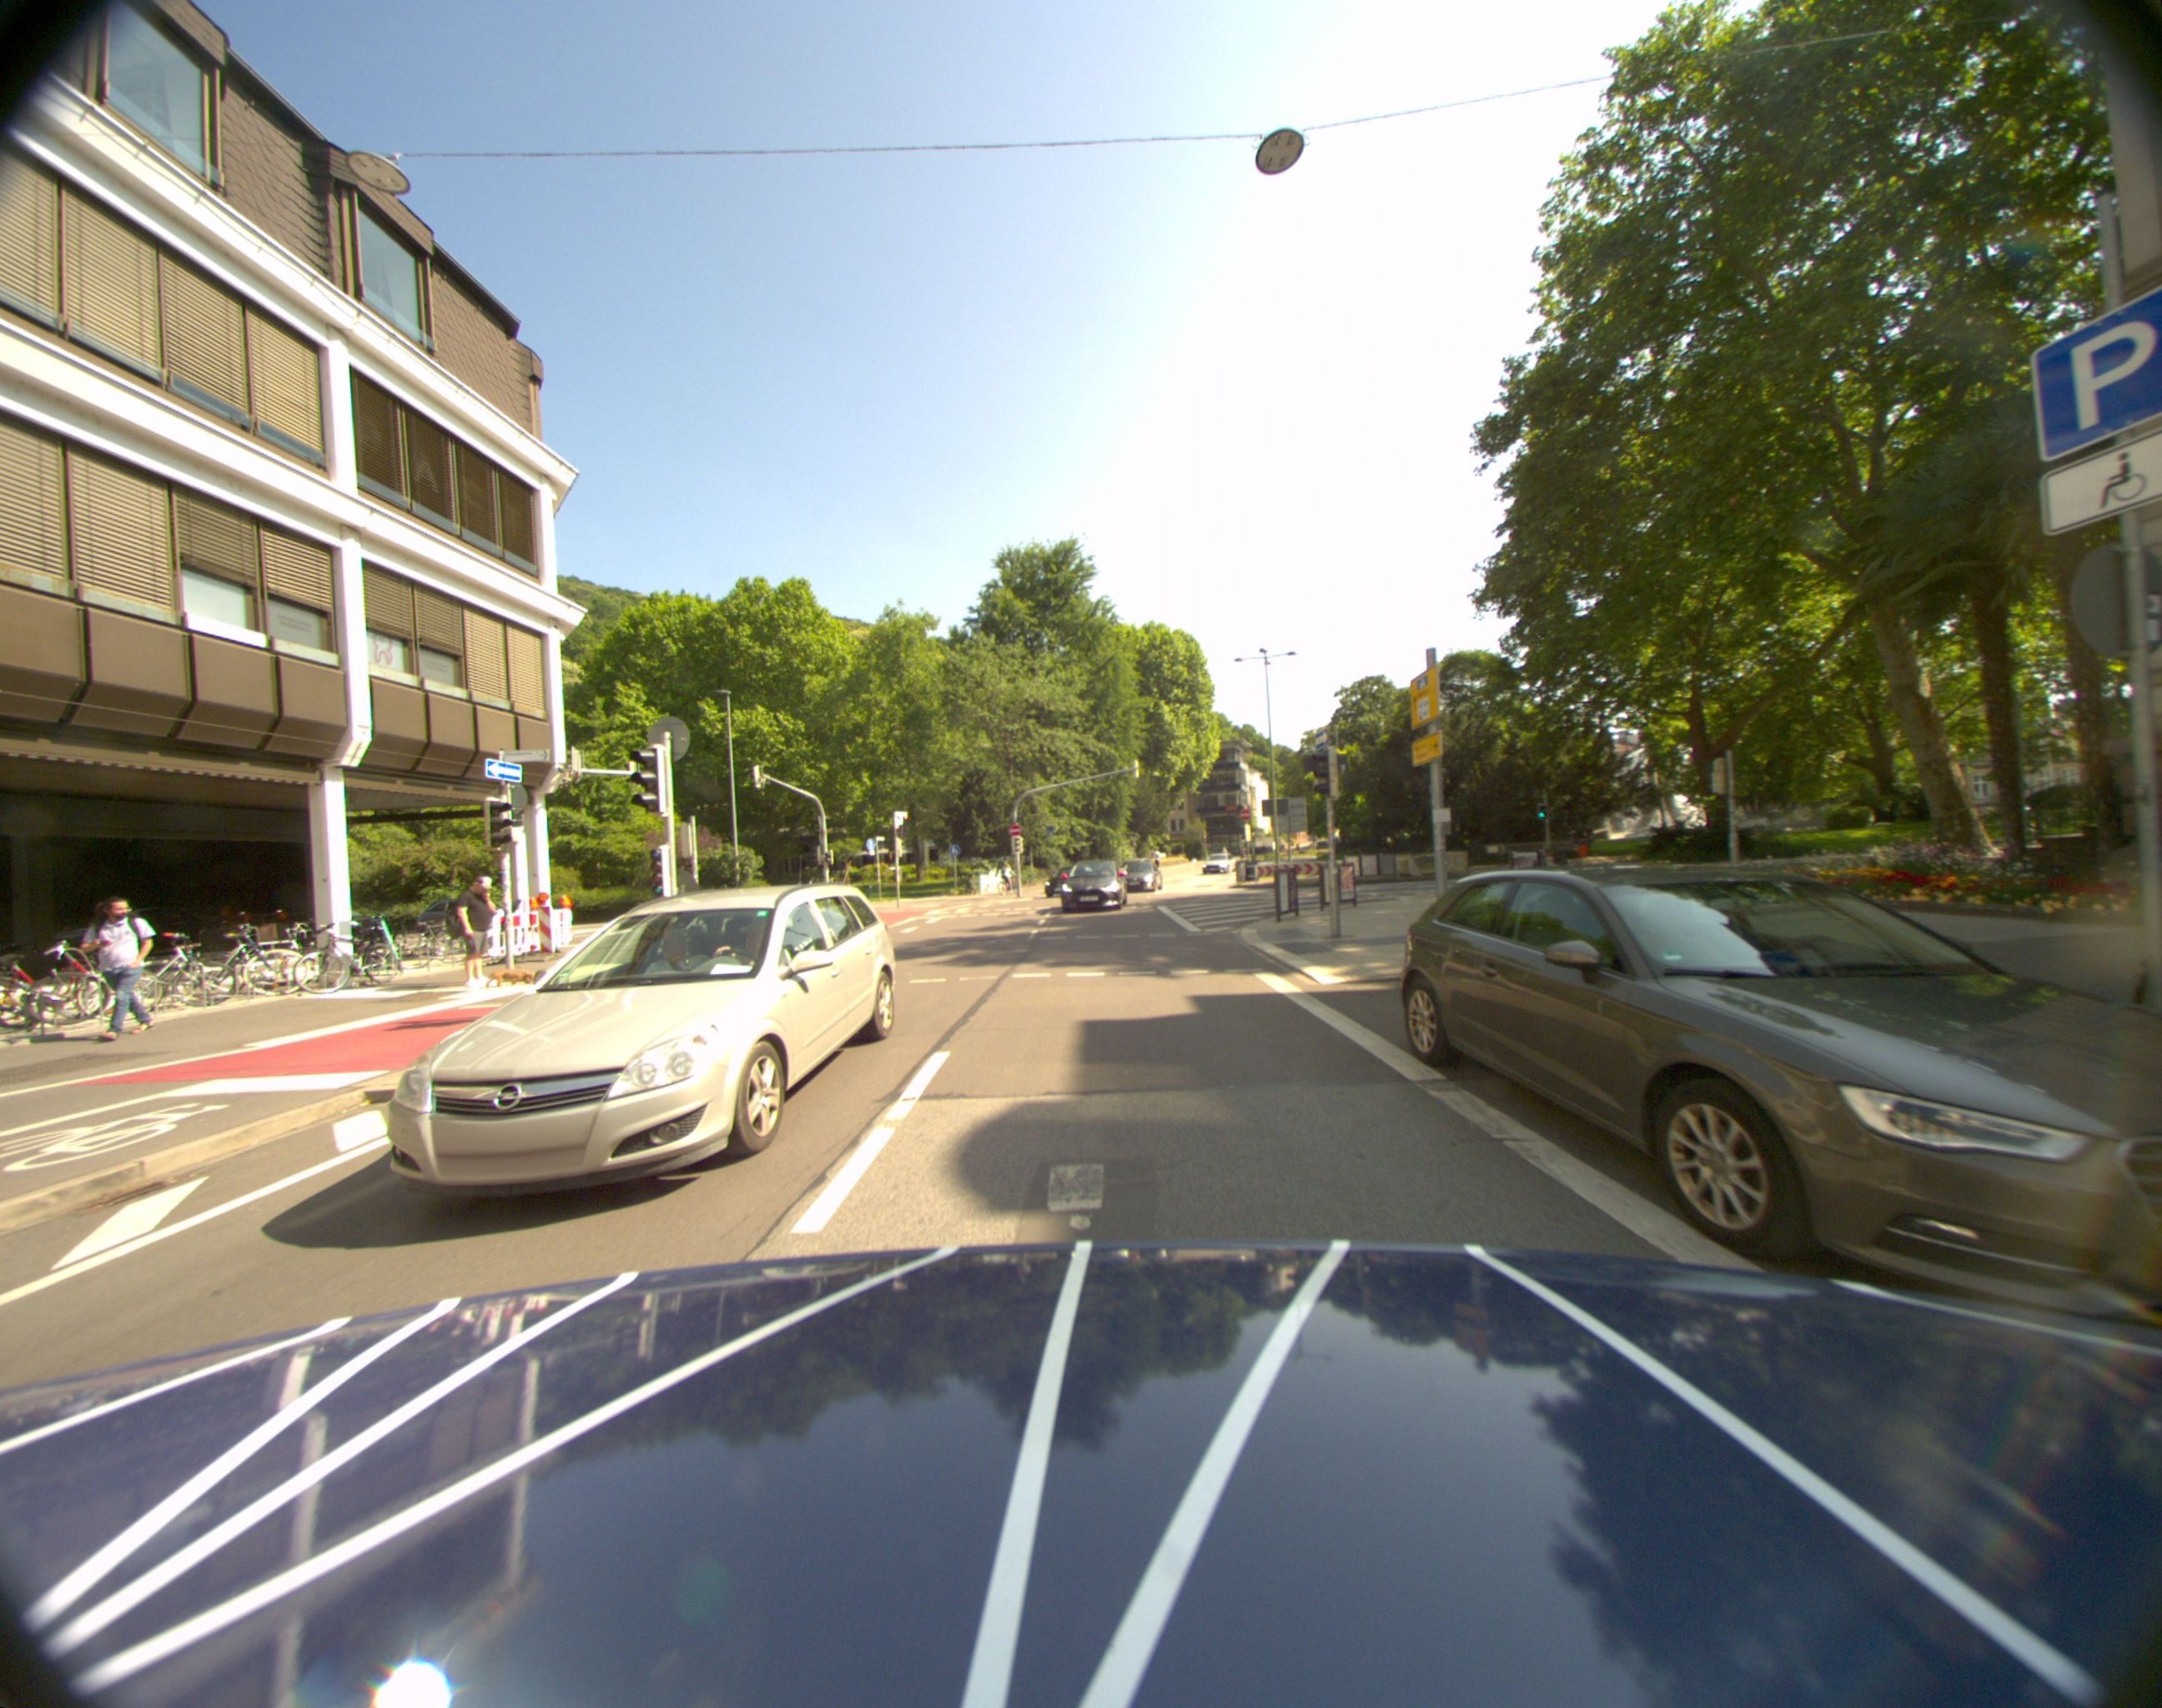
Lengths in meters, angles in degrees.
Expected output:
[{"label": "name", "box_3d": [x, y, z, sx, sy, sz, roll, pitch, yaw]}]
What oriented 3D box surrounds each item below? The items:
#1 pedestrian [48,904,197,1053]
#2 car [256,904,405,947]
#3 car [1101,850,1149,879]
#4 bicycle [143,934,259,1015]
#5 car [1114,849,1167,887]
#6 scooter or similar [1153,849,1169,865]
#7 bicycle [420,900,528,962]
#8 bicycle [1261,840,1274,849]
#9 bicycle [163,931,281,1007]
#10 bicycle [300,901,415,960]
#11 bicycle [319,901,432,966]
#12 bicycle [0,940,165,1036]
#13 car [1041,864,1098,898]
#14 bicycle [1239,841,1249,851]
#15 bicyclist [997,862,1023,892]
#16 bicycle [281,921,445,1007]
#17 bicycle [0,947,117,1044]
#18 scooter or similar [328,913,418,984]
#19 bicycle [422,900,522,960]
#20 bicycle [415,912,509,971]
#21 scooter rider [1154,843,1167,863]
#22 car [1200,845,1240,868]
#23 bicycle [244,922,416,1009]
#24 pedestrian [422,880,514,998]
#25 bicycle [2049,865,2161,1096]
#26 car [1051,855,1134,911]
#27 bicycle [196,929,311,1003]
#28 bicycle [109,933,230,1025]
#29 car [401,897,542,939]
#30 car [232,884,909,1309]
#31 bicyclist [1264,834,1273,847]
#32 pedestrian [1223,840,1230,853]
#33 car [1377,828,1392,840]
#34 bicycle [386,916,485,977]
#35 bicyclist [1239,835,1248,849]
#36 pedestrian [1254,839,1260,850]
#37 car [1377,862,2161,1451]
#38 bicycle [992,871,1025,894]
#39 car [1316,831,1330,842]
[{"label": "pedestrian", "box_3d": [-11.480, 1.470, 9.121, 0.834, 1.654, 0.697, -3, 2, 10]}, {"label": "car", "box_3d": [-29.749, 2.812, 30.205, 4.093, 1.355, 1.860, -3, -1, 1]}, {"label": "car", "box_3d": [2.841, 0.650, 47.861, 1.887, 1.674, 4.148, -2, 0, 20]}, {"label": "bicycle", "box_3d": [-12.866, 1.760, 11.108, 1.573, 1.114, 0.278, -2, 0, 8]}, {"label": "car", "box_3d": [2.887, 0.631, 35.986, 1.888, 1.674, 4.146, -2, 0, 13]}, {"label": "scooter or similar", "box_3d": [6.874, 0.255, 65.015, 0.819, 1.291, 1.698, -2, 2, 22]}, {"label": "bicycle", "box_3d": [-14.648, 1.844, 18.403, 1.970, 1.309, 0.530, -2, -1, -37]}, {"label": "bicycle", "box_3d": [23.122, -1.159, 94.254, 0.709, 1.048, 2.211, -3, 1, 39]}, {"label": "bicycle", "box_3d": [-13.164, 1.762, 11.645, 1.720, 1.114, 0.278, -2, 0, 8]}, {"label": "bicycle", "box_3d": [-18.093, 1.911, 19.075, 1.971, 1.413, 0.530, 4, -4, -37]}, {"label": "bicycle", "box_3d": [-17.433, 1.930, 18.829, 1.970, 1.414, 0.530, -2, -1, -37]}, {"label": "bicycle", "box_3d": [-13.604, 1.790, 10.094, 2.242, 1.114, 0.277, -3, 0, -6]}, {"label": "car", "box_3d": [-0.464, 1.261, 36.899, 1.847, 1.420, 4.216, -3, 0, 11]}, {"label": "bicycle", "box_3d": [19.157, -0.943, 89.347, 0.758, 1.114, 2.004, -2, 2, 22]}, {"label": "bicyclist", "box_3d": [-3.846, 1.256, 41.182, 0.865, 1.566, 0.945, -2, 2, 38]}, {"label": "bicycle", "box_3d": [-11.964, 1.787, 12.780, 0.277, 1.114, 2.245, -3, 0, 9]}, {"label": "bicycle", "box_3d": [-13.584, 1.810, 9.474, 2.243, 1.090, 0.277, -3, 0, -12]}, {"label": "scooter or similar", "box_3d": [-13.201, 1.758, 14.174, 1.248, 1.225, 0.480, -3, 0, 8]}, {"label": "bicycle", "box_3d": [-15.012, 1.854, 18.786, 1.862, 1.309, 0.530, -2, -1, -37]}, {"label": "bicycle", "box_3d": [-12.989, 1.813, 15.974, 0.308, 1.059, 1.474, -2, 0, 37]}, {"label": "scooter rider", "box_3d": [6.795, -0.101, 64.852, 0.822, 1.662, 0.710, -2, 2, 22]}, {"label": "car", "box_3d": [10.269, 0.160, 55.834, 1.938, 1.421, 4.556, -3, 0, 22]}, {"label": "bicycle", "box_3d": [-12.375, 1.789, 12.643, 0.277, 1.114, 2.245, -3, 0, 9]}, {"label": "pedestrian", "box_3d": [-10.066, 1.374, 12.501, 0.834, 1.825, 0.697, -3, 2, 10]}, {"label": "bicycle", "box_3d": [5.497, 0.678, 3.175, 0.430, 1.114, 2.244, -5, 1, 12]}, {"label": "car", "box_3d": [0.442, 0.797, 22.547, 1.809, 1.443, 3.957, -2, 0, 10]}, {"label": "bicycle", "box_3d": [-13.111, 1.773, 12.039, 1.720, 1.114, 0.278, -2, 0, 8]}, {"label": "bicycle", "box_3d": [-12.882, 1.763, 10.740, 1.548, 1.200, 0.278, -4, 0, 8]}, {"label": "car", "box_3d": [-24.158, 2.521, 30.222, 4.093, 1.355, 1.860, -3, -1, 2]}, {"label": "car", "box_3d": [-2.624, 1.099, 5.371, 1.712, 1.513, 4.406, -4, 0, 0]}, {"label": "bicyclist", "box_3d": [23.223, -1.711, 94.221, 0.709, 1.603, 0.733, -3, 1, 39]}, {"label": "pedestrian", "box_3d": [18.769, -0.998, 98.169, 0.710, 1.663, 0.535, -3, 1, 19]}, {"label": "car", "box_3d": [45.680, -3.046, 114.334, 1.848, 1.652, 4.005, -3, 1, 19]}, {"label": "bicycle", "box_3d": [-12.888, 1.824, 15.202, 1.474, 1.059, 0.376, -2, 0, -42]}, {"label": "bicyclist", "box_3d": [19.064, -1.389, 89.221, 0.765, 1.627, 0.944, -2, 2, 21]}, {"label": "pedestrian", "box_3d": [26.942, -1.439, 116.334, 0.601, 1.695, 0.605, -4, 1, 27]}, {"label": "car", "box_3d": [3.271, 0.767, 3.949, 1.941, 1.346, 4.250, -3, 0, 3]}, {"label": "bicycle", "box_3d": [-3.935, 1.536, 41.178, 0.782, 1.114, 1.680, -2, 1, 38]}, {"label": "car", "box_3d": [40.398, -2.909, 126.801, 1.848, 1.777, 4.005, -3, 0, 21]}]
